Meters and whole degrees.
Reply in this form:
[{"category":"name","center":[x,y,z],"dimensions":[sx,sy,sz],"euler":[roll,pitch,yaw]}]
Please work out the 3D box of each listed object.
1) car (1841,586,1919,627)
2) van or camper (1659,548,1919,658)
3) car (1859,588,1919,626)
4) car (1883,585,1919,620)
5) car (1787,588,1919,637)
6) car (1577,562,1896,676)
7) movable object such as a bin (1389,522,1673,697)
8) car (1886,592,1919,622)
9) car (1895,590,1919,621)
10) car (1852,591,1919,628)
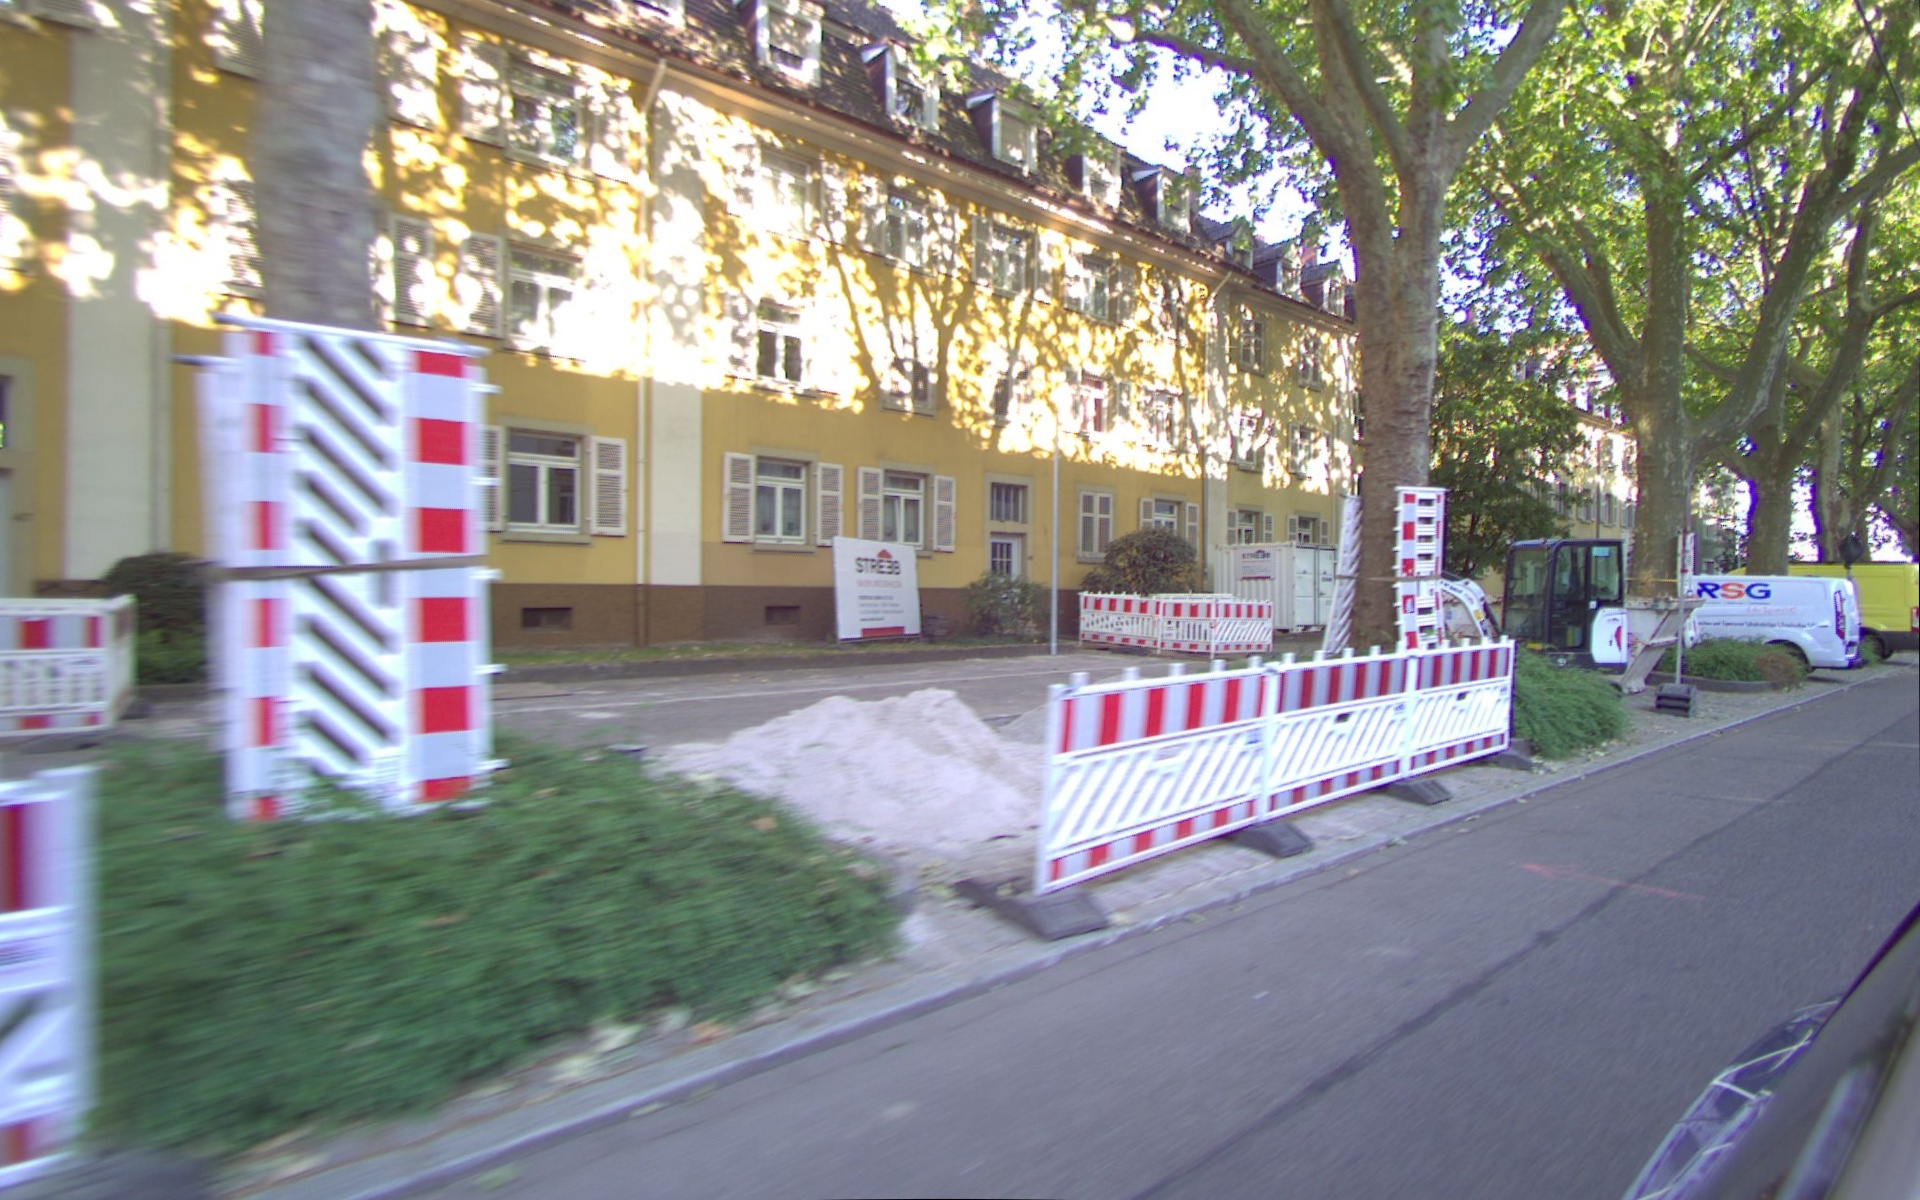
[{"category":"car","center":[43.009,0.309,45.897],"dimensions":[1.806,1.753,4.322],"euler":[1,2,-37]},{"category":"van or camper","center":[22.528,-0.008,27.053],"dimensions":[2.229,2.662,5.940],"euler":[-1,2,-38]},{"category":"car","center":[44.965,0.356,47.132],"dimensions":[1.876,1.678,4.432],"euler":[0,2,-42]},{"category":"car","center":[55.371,0.209,56.771],"dimensions":[1.881,1.878,5.123],"euler":[-1,3,-41]},{"category":"car","center":[32.216,0.413,35.979],"dimensions":[1.799,1.569,4.084],"euler":[0,2,-41]},{"category":"car","center":[15.572,0.286,20.539],"dimensions":[2.027,2.038,4.844],"euler":[0,1,-41]},{"category":"movable object such as a bin","center":[7.957,0.123,14.230],"dimensions":[3.210,2.297,1.489],"euler":[0,0,-7]},{"category":"car","center":[51.827,0.417,53.217],"dimensions":[1.785,1.542,4.409],"euler":[1,1,-40]},{"category":"car","center":[49.998,0.317,51.169],"dimensions":[1.712,1.516,3.885],"euler":[0,2,-43]},{"category":"car","center":[40.962,0.440,43.507],"dimensions":[1.832,1.441,3.661],"euler":[1,3,-39]}]
